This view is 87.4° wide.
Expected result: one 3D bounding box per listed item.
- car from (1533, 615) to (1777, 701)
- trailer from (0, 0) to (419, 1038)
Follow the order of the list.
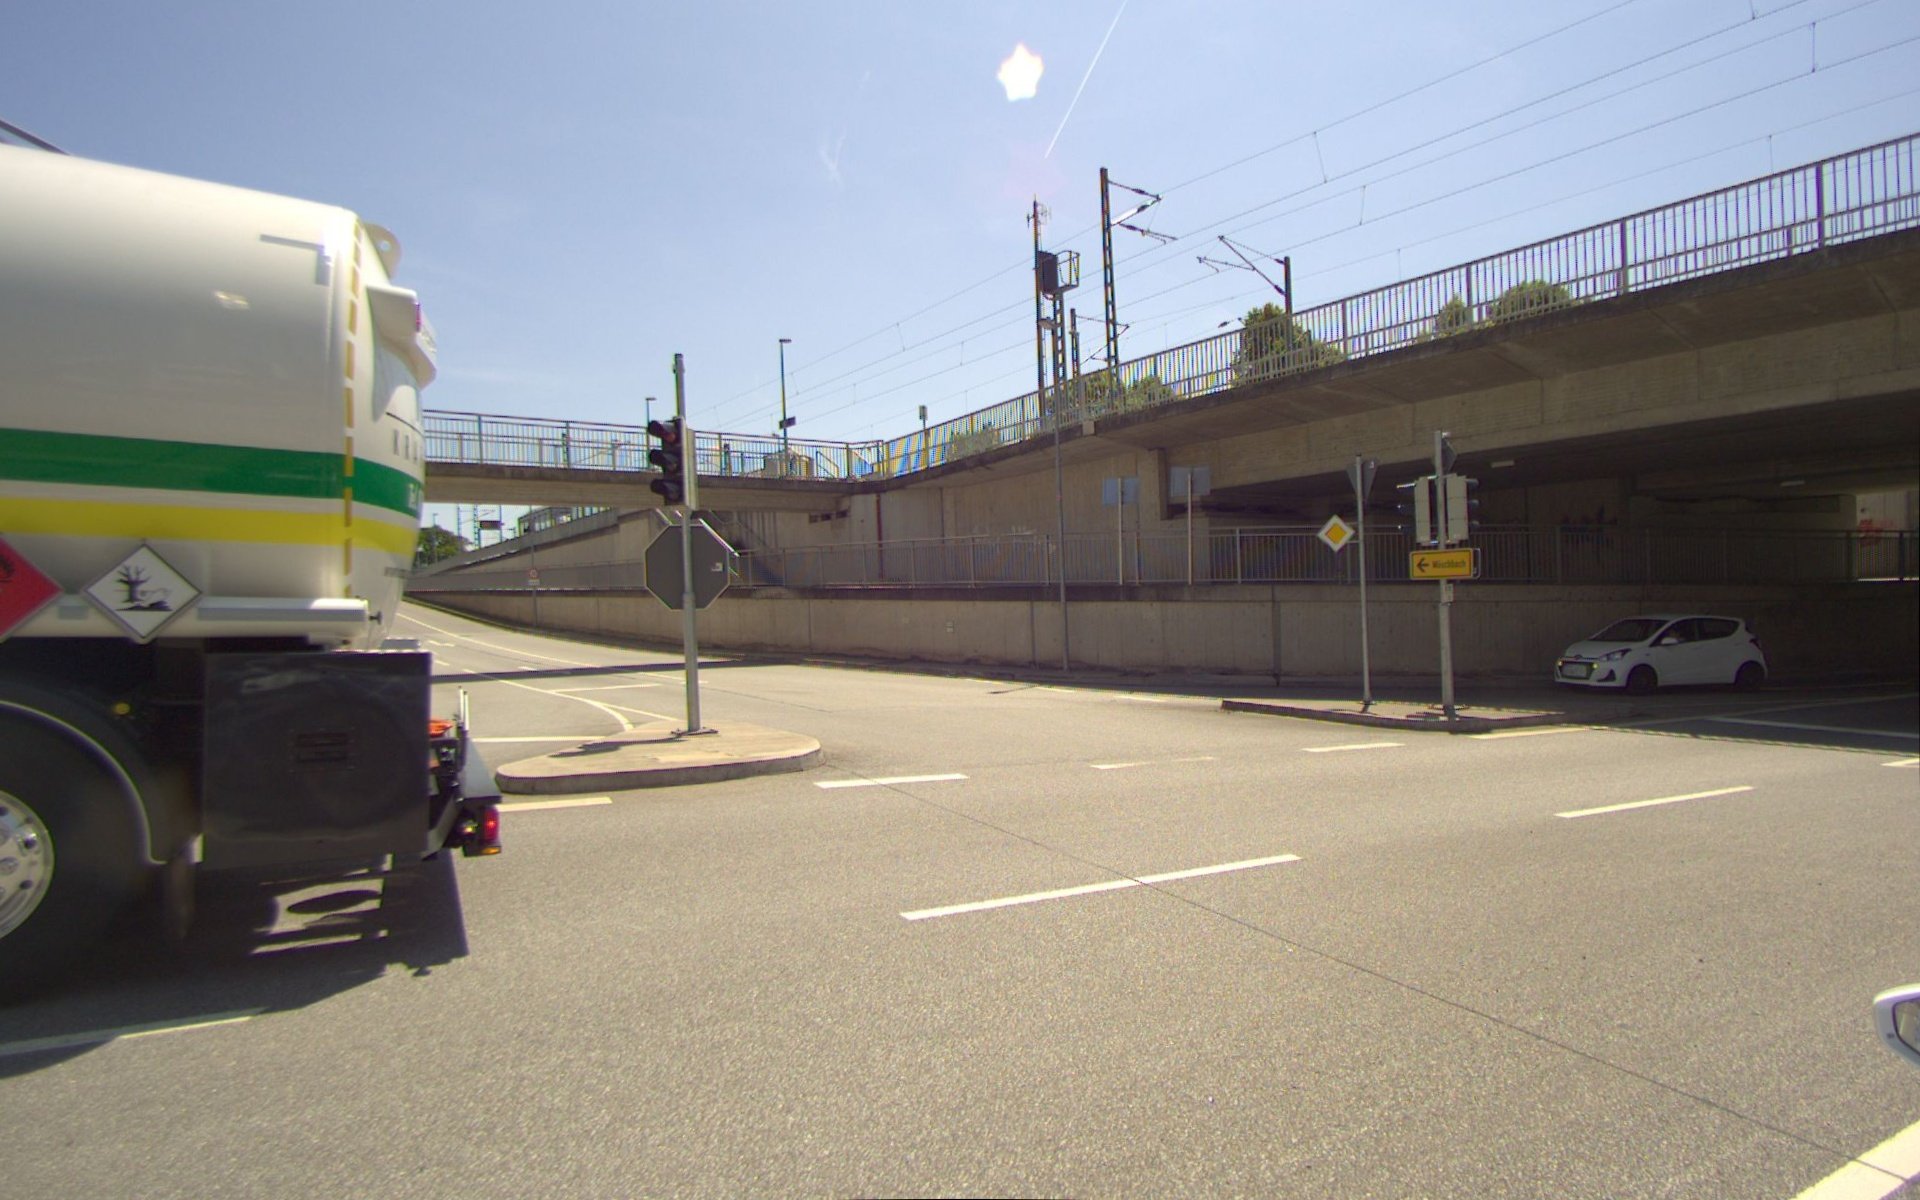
[{"bbox_3d":[13.472,1.091,19.548,3.765,1.486,1.782,-1,-2,-12],"label":"car"},{"bbox_3d":[-7.073,-0.446,2.739,9.772,3.712,2.677,1,0,-30],"label":"trailer"}]
